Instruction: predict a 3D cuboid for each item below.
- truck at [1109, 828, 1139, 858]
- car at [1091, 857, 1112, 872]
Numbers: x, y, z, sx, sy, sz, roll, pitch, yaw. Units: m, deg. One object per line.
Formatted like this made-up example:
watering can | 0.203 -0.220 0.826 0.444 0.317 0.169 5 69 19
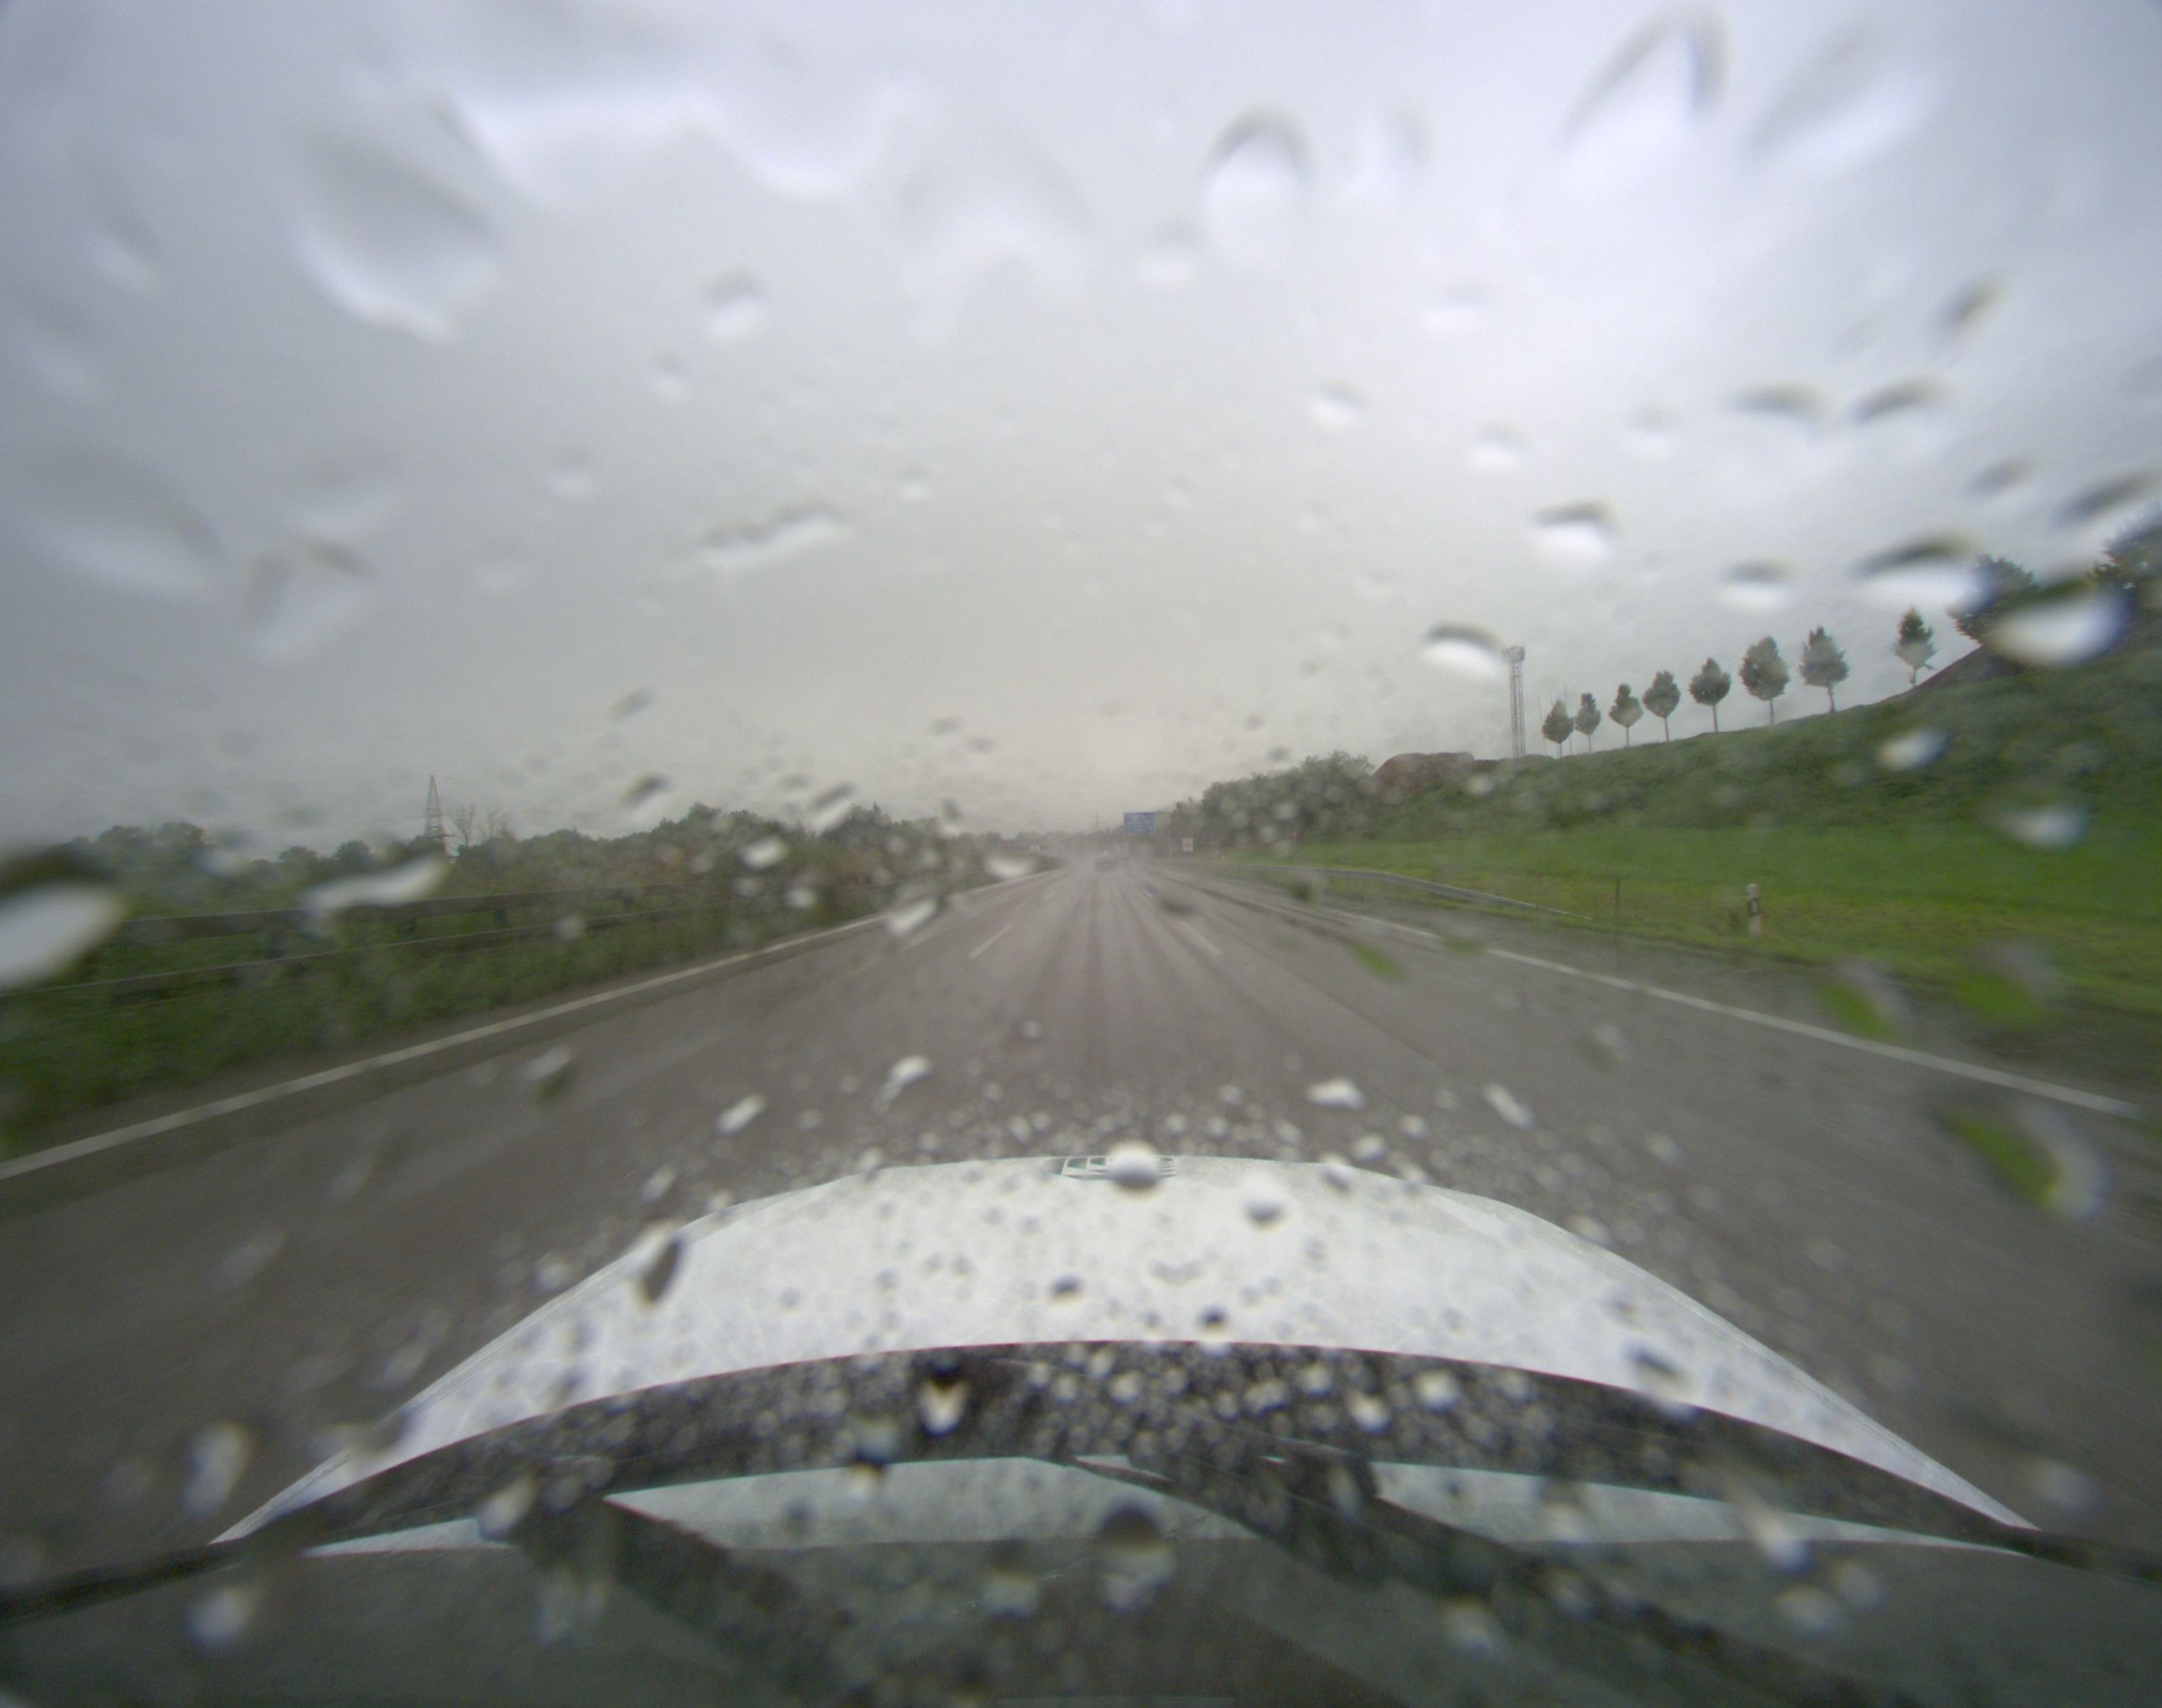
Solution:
truck | 7.836 -1.912 150.391 4.243 4.971 17.337 -5 0 0
car | 1.719 0.879 69.779 1.743 1.212 4.000 -1 0 1
